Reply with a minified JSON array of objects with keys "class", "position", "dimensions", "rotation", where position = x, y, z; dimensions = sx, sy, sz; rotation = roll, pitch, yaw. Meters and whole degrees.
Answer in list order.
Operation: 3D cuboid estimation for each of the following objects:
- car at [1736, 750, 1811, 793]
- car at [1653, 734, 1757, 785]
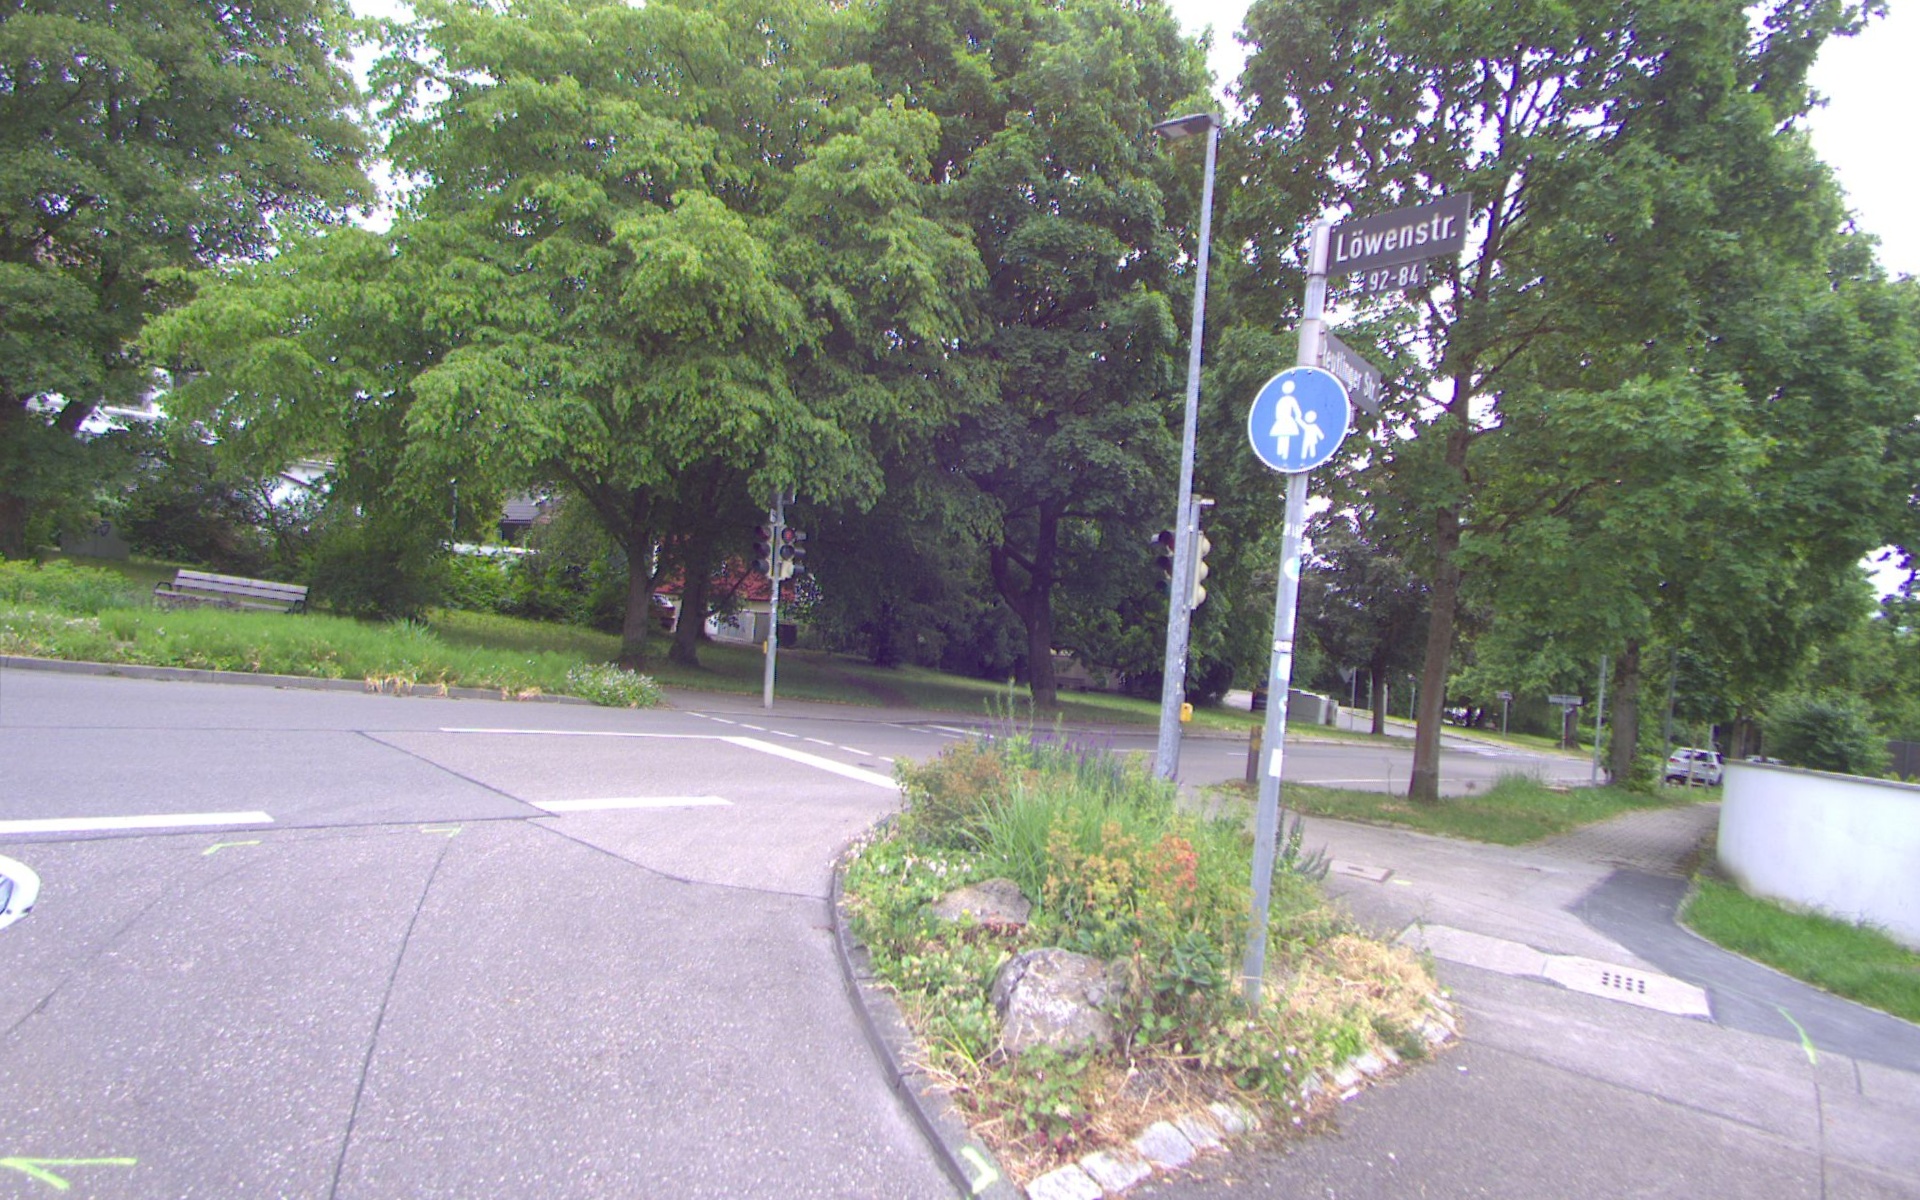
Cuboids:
[{"class":"car","position":[38.615,8.162,47.741],"dimensions":[3.815,1.577,1.743],"rotation":[9,-2,-37]},{"class":"car","position":[29.325,6.286,39.576],"dimensions":[3.963,1.571,1.981],"rotation":[7,0,-35]}]
